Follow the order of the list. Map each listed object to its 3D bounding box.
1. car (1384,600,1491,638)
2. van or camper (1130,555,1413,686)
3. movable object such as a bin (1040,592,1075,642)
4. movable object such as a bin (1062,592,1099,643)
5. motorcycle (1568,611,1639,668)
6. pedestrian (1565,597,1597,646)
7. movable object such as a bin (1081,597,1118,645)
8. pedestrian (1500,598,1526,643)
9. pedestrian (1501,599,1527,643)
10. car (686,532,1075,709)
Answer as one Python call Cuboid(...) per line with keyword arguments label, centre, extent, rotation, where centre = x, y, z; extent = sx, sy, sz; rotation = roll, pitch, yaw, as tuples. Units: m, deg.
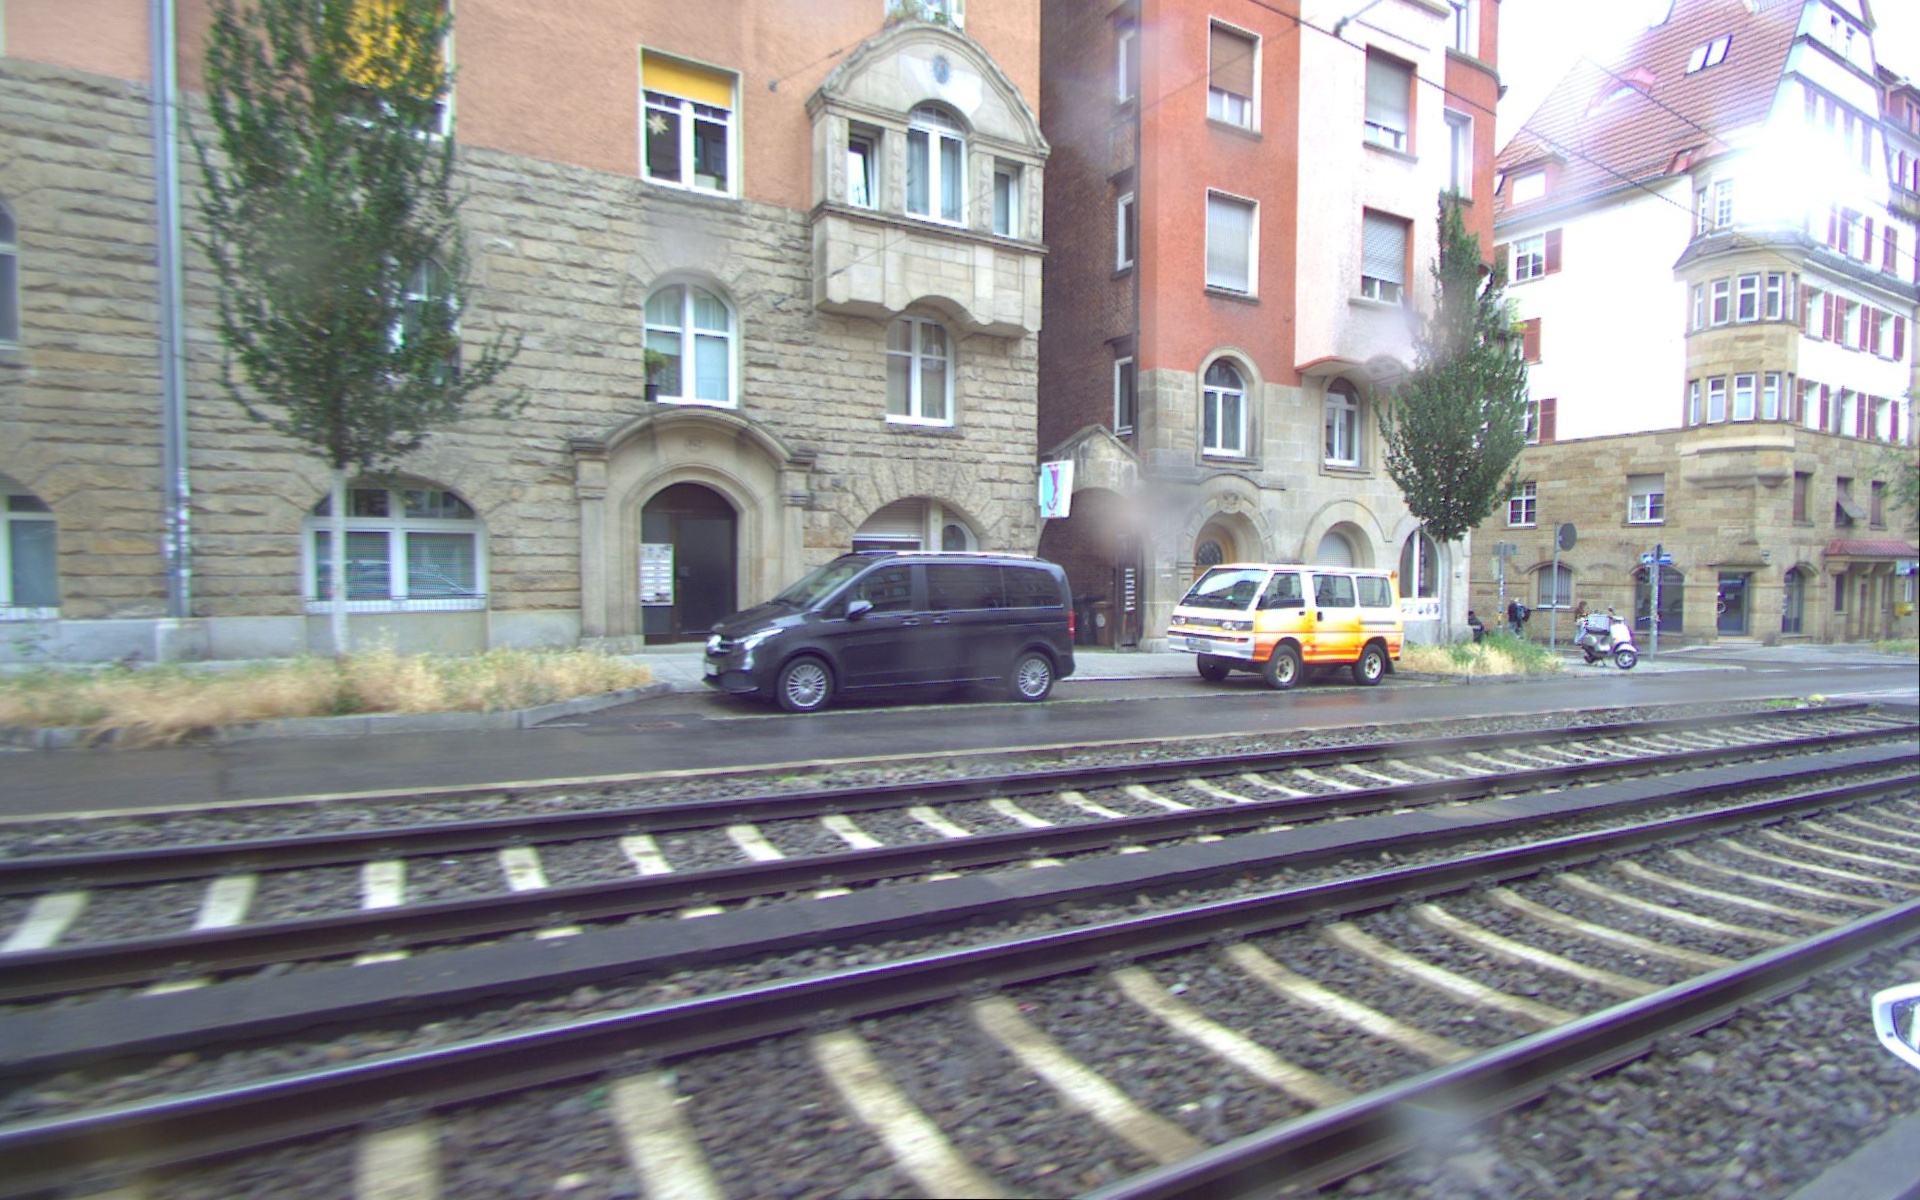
Cuboid(label="car", centre=(18.898, 0.730, 39.891), extent=(1.542, 1.329, 3.605), rotation=(1, 2, -29))
Cuboid(label="van or camper", centre=(5.315, 0.314, 16.966), extent=(4.647, 1.927, 1.982), rotation=(1, 2, -32))
Cuboid(label="movable object such as a bin", centre=(2.160, 0.376, 22.207), extent=(0.513, 1.075, 0.571), rotation=(1, 2, -30))
Cuboid(label="movable object such as a bin", centre=(2.602, 0.373, 21.721), extent=(0.513, 1.075, 0.571), rotation=(1, 2, -30))
Cuboid(label="motorcycle", centre=(14.356, 0.861, 22.437), extent=(0.608, 1.149, 1.441), rotation=(2, 1, 0))
Cuboid(label="pedestrian", centre=(22.909, 0.789, 37.053), extent=(0.854, 1.756, 0.604), rotation=(1, 1, -29))
Cuboid(label="movable object such as a bin", centre=(2.947, 0.437, 21.238), extent=(0.513, 0.968, 0.571), rotation=(1, 2, -30))
Cuboid(label="pedestrian", centre=(22.021, 0.832, 39.998), extent=(0.635, 1.756, 0.604), rotation=(1, 1, -29))
Cuboid(label="pedestrian", centre=(22.407, 0.842, 40.651), extent=(0.635, 1.756, 0.604), rotation=(1, 1, -29))
Cuboid(label="car", centre=(-0.960, 0.251, 13.047), extent=(4.647, 1.927, 1.983), rotation=(1, 0, -32))
